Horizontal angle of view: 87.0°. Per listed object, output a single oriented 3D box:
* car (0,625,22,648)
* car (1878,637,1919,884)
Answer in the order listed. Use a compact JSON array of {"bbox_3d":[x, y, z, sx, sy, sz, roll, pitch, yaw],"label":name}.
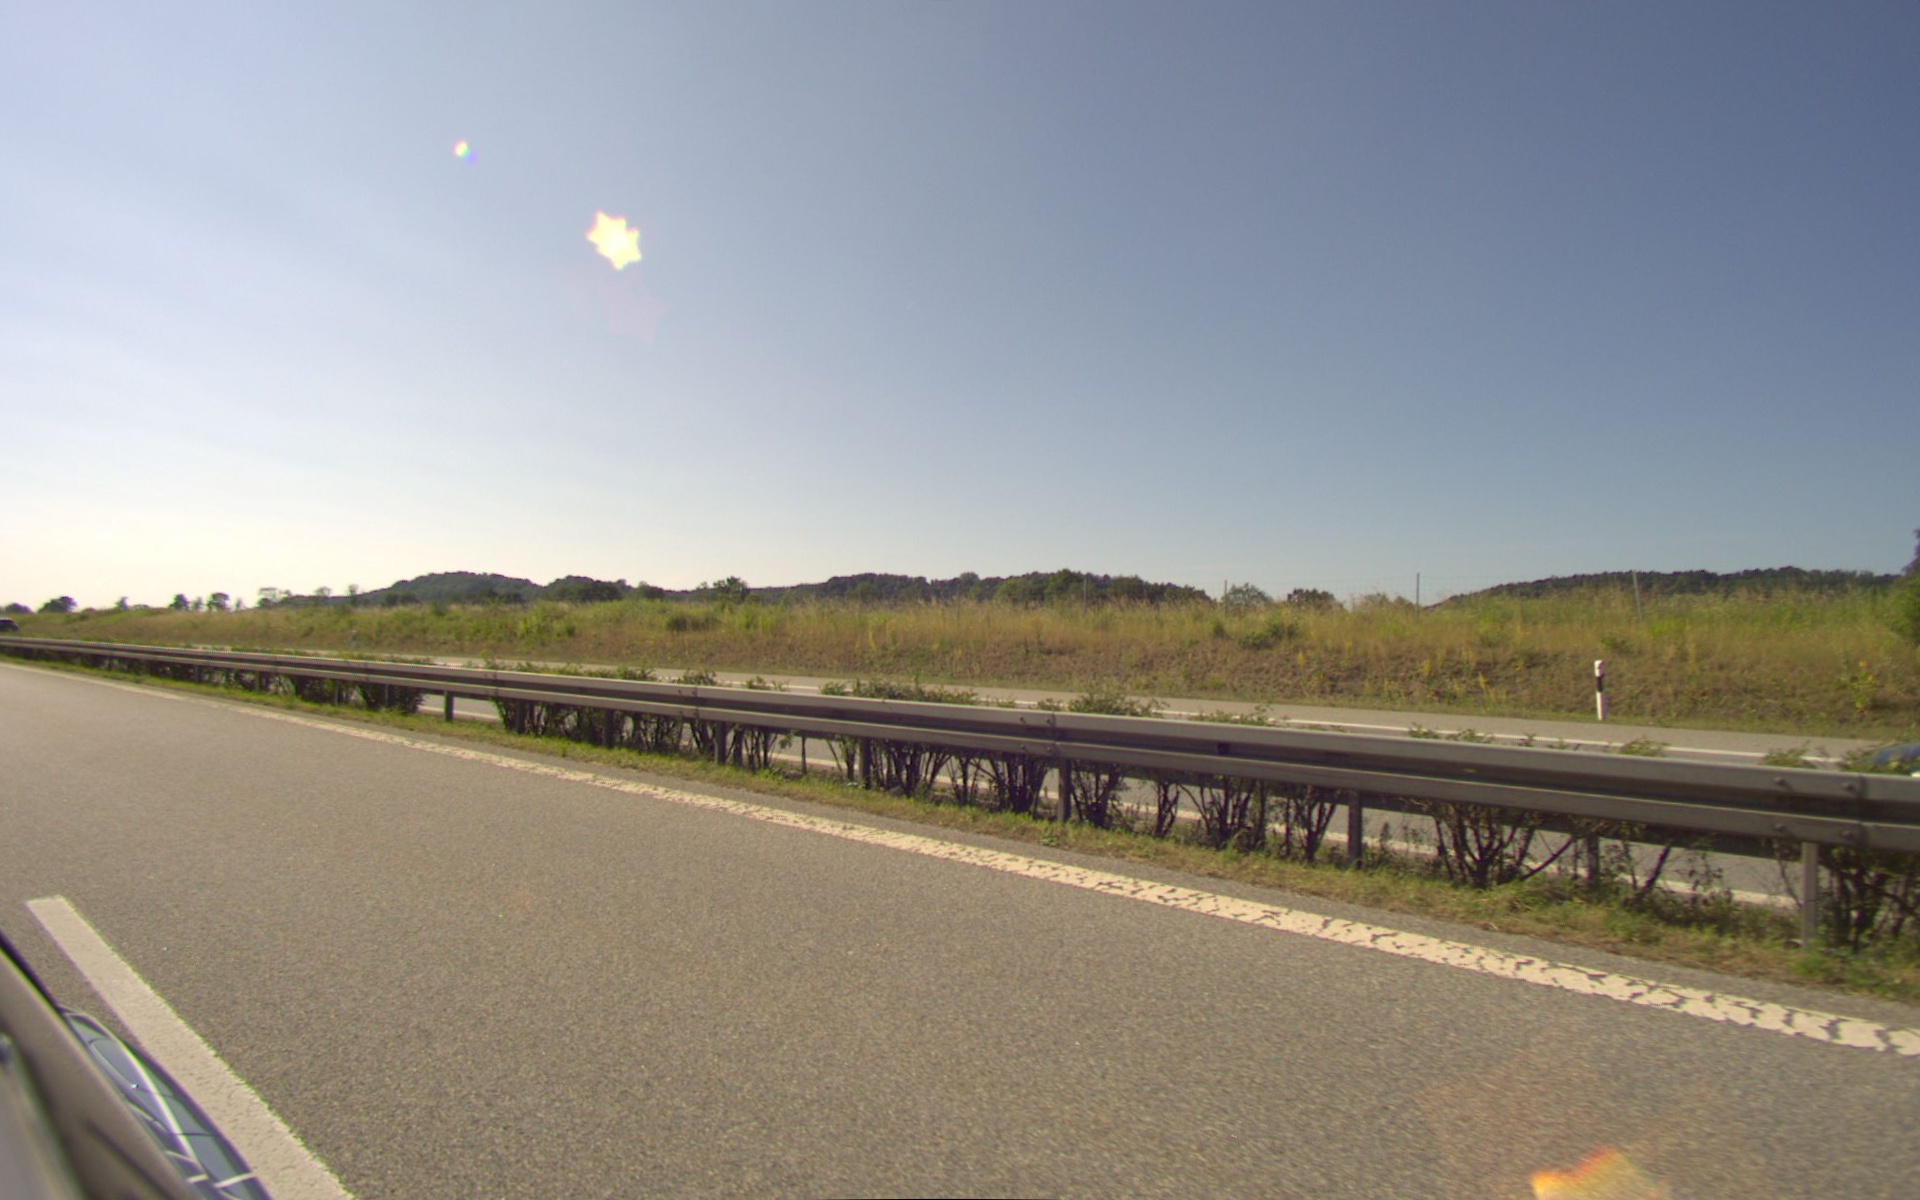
[{"bbox_3d":[-69.738,2.658,73.241,4.455,1.564,1.816,-2,-2,35],"label":"car"},{"bbox_3d":[8.475,1.045,5.859,4.536,1.519,1.814,-1,0,39],"label":"car"}]
